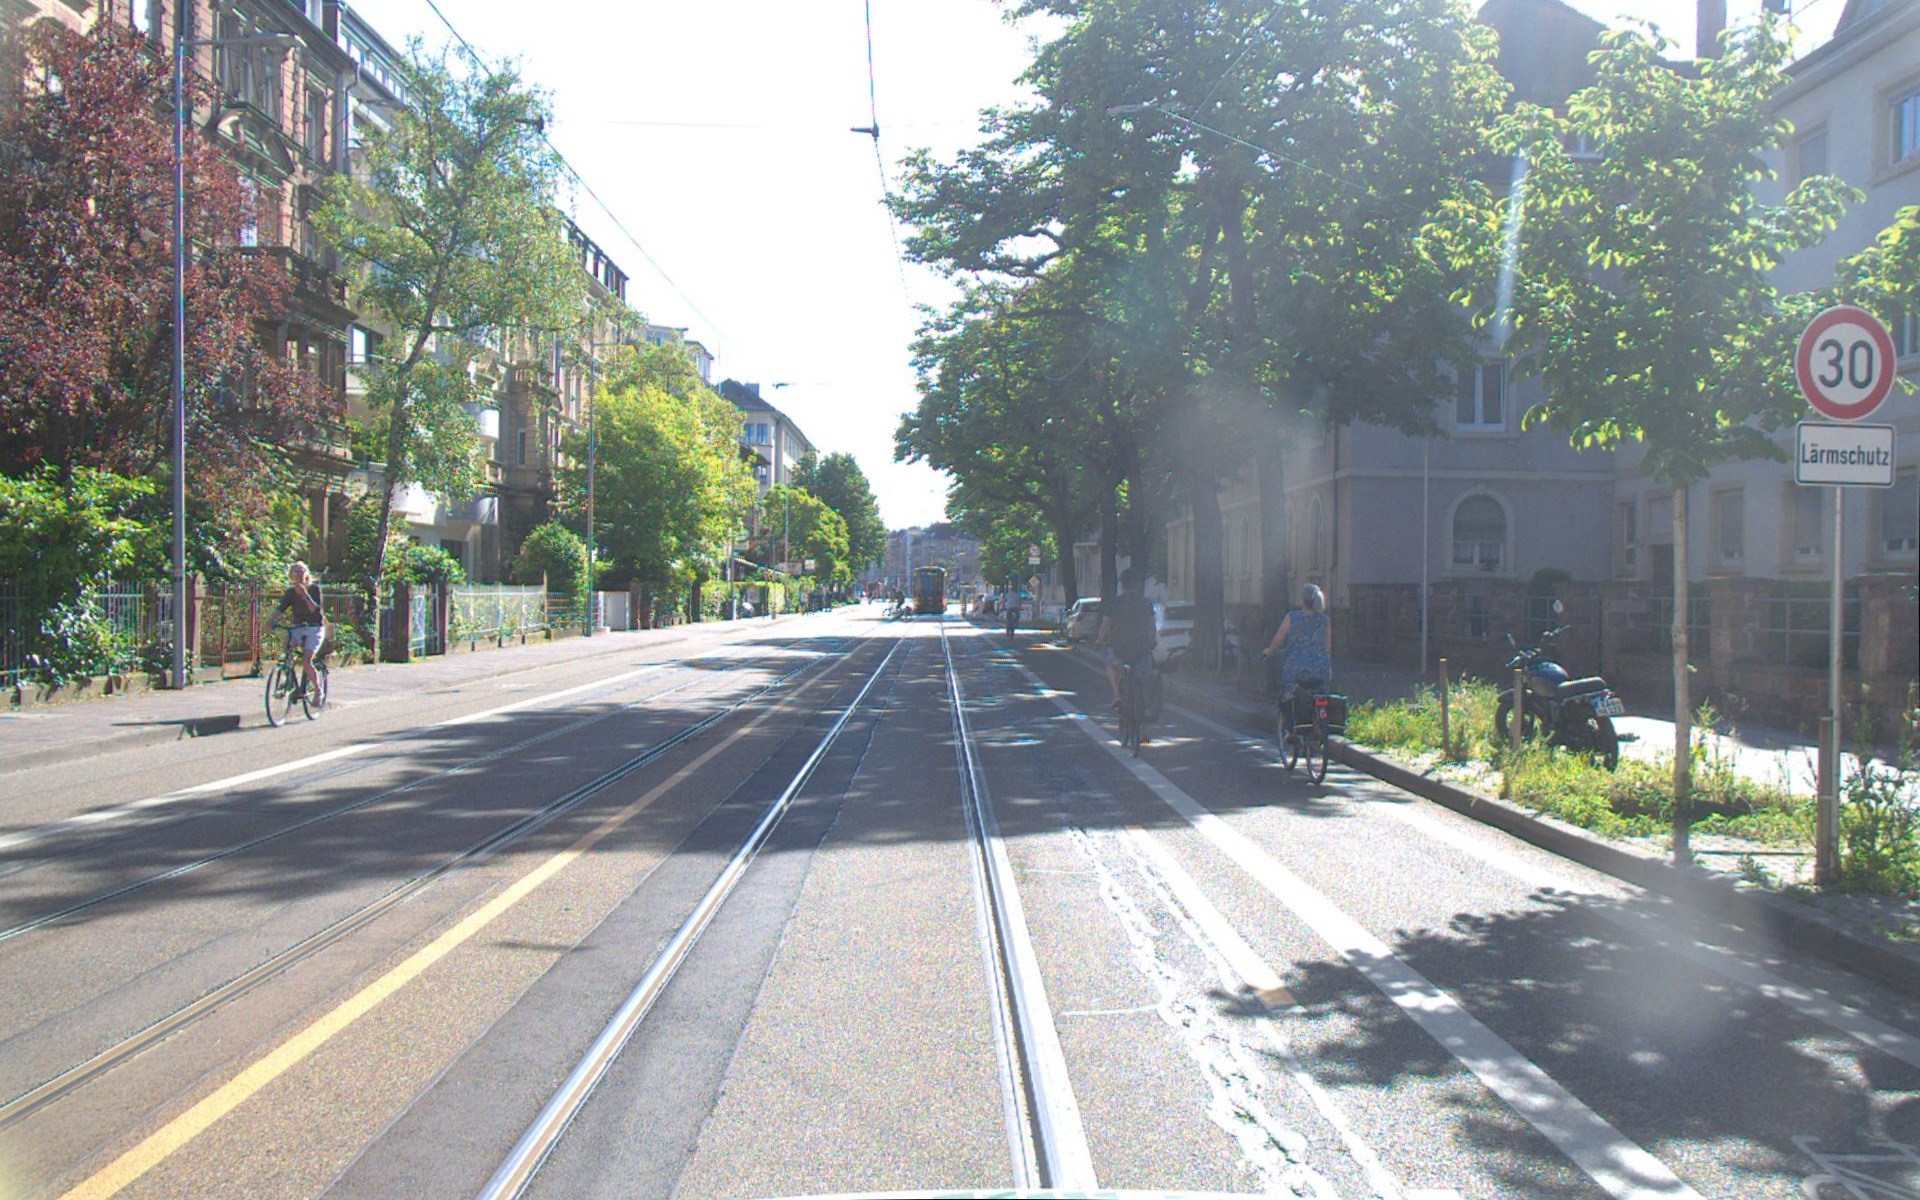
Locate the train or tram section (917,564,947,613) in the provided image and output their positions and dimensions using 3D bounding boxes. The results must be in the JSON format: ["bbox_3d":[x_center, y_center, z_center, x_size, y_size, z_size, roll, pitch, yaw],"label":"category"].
[{"bbox_3d":[-2.134,-0.874,125.395,2.110,3.491,6.609,2,0,-1],"label":"train or tram section"}]

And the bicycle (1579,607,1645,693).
[{"bbox_3d":[9.891,0.738,25.126,0.426,1.244,1.373,2,0,-1],"label":"bicycle"}]

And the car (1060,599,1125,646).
[{"bbox_3d":[4.272,0.716,53.938,1.713,1.445,3.999,0,0,-1],"label":"car"}]

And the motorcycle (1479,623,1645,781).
[{"bbox_3d":[5.199,0.846,14.400,0.486,1.211,1.858,-3,1,-8],"label":"motorcycle"}]

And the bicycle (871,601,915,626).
[{"bbox_3d":[-3.497,0.709,86.398,2.094,1.191,0.803,2,0,14],"label":"bicycle"}]

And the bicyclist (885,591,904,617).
[{"bbox_3d":[-3.412,0.217,86.273,0.756,1.314,0.734,2,0,15],"label":"bicyclist"}]

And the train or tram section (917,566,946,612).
[{"bbox_3d":[-2.286,-0.909,132.025,2.110,3.491,6.609,2,0,-1],"label":"train or tram section"}]

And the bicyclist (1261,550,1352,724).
[{"bbox_3d":[3.069,0.321,14.704,0.622,1.493,0.616,2,0,-1],"label":"bicyclist"}]

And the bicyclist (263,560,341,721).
[{"bbox_3d":[-7.693,0.467,19.356,0.647,1.833,0.616,-1,-1,-1],"label":"bicyclist"}]

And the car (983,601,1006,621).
[{"bbox_3d":[2.842,0.915,136.705,1.718,1.579,3.676,2,0,-1],"label":"car"}]

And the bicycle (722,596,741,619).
[{"bbox_3d":[-11.619,0.370,84.056,0.623,1.088,1.823,2,0,-17],"label":"bicycle"}]

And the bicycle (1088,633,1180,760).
[{"bbox_3d":[1.711,0.926,16.486,0.678,1.132,1.718,2,0,-1],"label":"bicycle"}]

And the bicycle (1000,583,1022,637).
[{"bbox_3d":[1.807,0.345,58.875,0.649,1.891,2.260,2,0,0],"label":"bicycle"}]

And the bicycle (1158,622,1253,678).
[{"bbox_3d":[4.799,0.973,32.393,1.756,1.037,0.620,-1,0,-2],"label":"bicycle"}]

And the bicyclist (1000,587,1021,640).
[{"bbox_3d":[1.778,0.453,58.237,0.632,1.827,0.955,2,0,-1],"label":"bicyclist"}]

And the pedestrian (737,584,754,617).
[{"bbox_3d":[-11.310,0.030,87.342,0.754,1.742,0.669,2,0,-1],"label":"pedestrian"}]

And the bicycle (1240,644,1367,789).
[{"bbox_3d":[3.056,1.007,14.885,0.678,1.132,1.917,2,0,-1],"label":"bicycle"}]

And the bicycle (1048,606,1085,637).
[{"bbox_3d":[3.820,0.763,59.223,1.243,1.042,0.704,2,-1,7],"label":"bicycle"}]

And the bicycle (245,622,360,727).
[{"bbox_3d":[-7.697,0.847,19.440,0.677,1.132,1.718,-1,0,-1],"label":"bicycle"}]

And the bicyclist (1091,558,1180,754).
[{"bbox_3d":[1.739,0.541,16.526,0.713,1.880,0.836,2,0,-2],"label":"bicyclist"}]

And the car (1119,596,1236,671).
[{"bbox_3d":[4.550,0.657,35.239,1.596,1.461,4.661,0,0,-4],"label":"car"}]

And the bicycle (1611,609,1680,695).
[{"bbox_3d":[10.391,0.767,25.111,0.426,1.244,1.373,2,0,-1],"label":"bicycle"}]

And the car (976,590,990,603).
[{"bbox_3d":[3.196,-0.491,234.703,1.834,1.691,3.514,2,0,-1],"label":"car"}]

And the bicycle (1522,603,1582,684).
[{"bbox_3d":[9.521,0.679,26.621,0.426,1.244,1.373,2,0,-1],"label":"bicycle"}]
